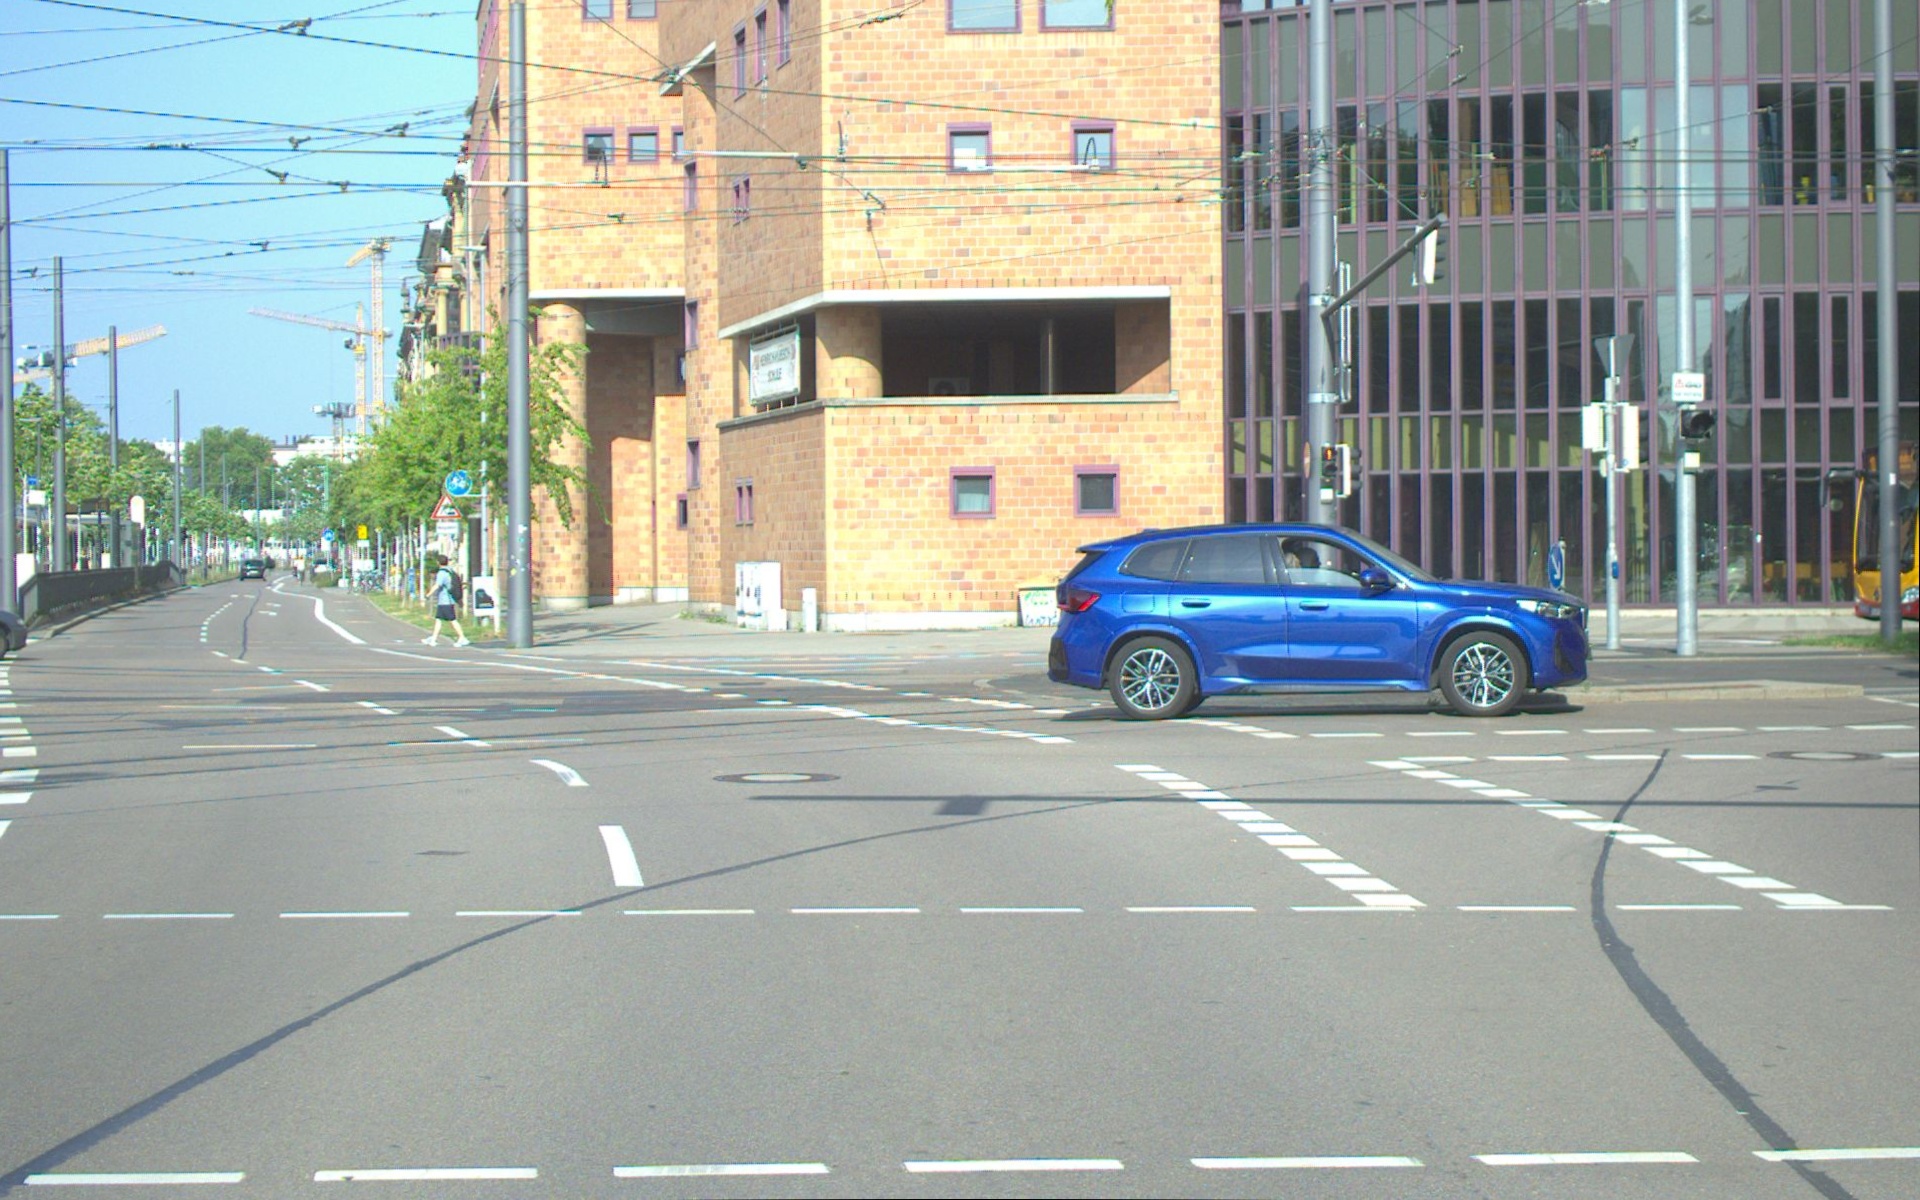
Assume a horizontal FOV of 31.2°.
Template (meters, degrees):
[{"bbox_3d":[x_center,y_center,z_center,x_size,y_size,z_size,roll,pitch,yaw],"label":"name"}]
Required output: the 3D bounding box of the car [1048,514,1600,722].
[{"bbox_3d":[3.013,0.159,28.702,4.400,1.630,1.992,-1,-1,6],"label":"car"}]

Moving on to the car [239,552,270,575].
[{"bbox_3d":[-49.500,-2.571,241.187,2.073,1.537,4.415,0,-1,-11],"label":"car"}]

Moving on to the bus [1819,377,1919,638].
[{"bbox_3d":[22.118,-1.403,52.608,17.605,3.797,2.866,0,-1,-9],"label":"bus"}]

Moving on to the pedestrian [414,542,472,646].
[{"bbox_3d":[-10.070,-0.120,66.950,0.841,2.007,0.810,0,1,16],"label":"pedestrian"}]

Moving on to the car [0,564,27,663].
[{"bbox_3d":[-16.361,0.219,51.366,4.209,1.481,1.999,0,-1,-43],"label":"car"}]

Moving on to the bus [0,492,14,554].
[{"bbox_3d":[-32.026,-2.509,112.177,1.993,2.007,4.001,0,1,-12],"label":"bus"}]
